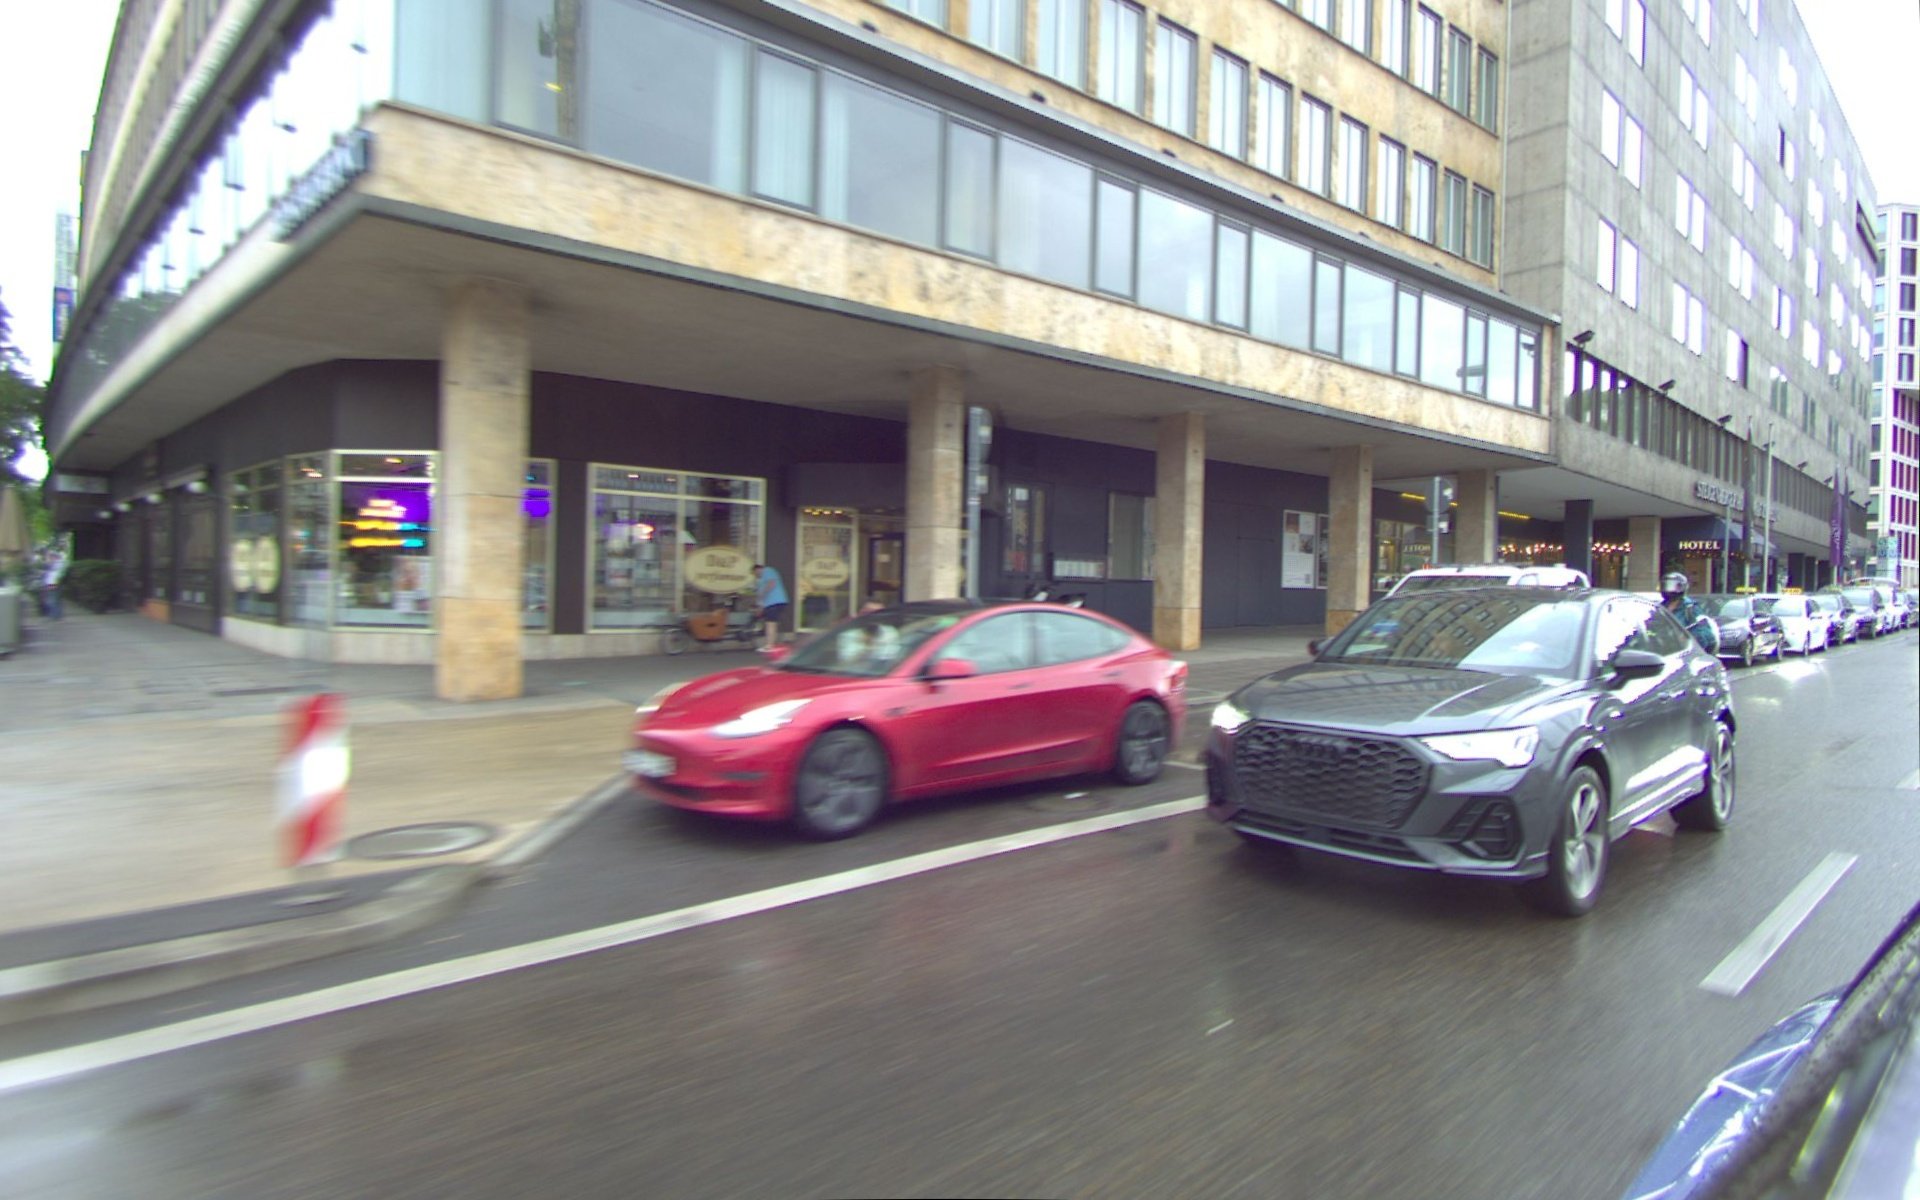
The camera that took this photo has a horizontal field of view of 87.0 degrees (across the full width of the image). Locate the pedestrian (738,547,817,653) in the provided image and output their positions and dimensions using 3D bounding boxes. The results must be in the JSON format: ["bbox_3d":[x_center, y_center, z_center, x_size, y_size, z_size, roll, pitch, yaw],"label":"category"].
[{"bbox_3d":[-3.227,-0.014,17.915,1.116,1.812,0.800,-1,0,-40],"label":"pedestrian"}]

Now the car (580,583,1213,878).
[{"bbox_3d":[-0.239,0.659,7.476,4.448,1.505,1.878,-1,1,-41],"label":"car"}]

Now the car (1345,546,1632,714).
[{"bbox_3d":[7.448,0.304,14.033,4.850,1.944,1.878,-1,1,-41],"label":"car"}]

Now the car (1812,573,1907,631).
[{"bbox_3d":[29.569,0.031,33.214,4.731,1.764,1.729,-1,1,-41],"label":"car"}]

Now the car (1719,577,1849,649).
[{"bbox_3d":[20.746,0.266,25.410,4.731,1.612,1.729,-1,1,-41],"label":"car"}]

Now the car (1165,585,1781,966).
[{"bbox_3d":[3.372,0.700,6.262,4.266,1.520,1.882,-1,1,-40],"label":"car"}]

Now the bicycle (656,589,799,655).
[{"bbox_3d":[-4.088,0.361,17.953,2.428,1.059,0.657,-1,0,-40],"label":"bicycle"}]

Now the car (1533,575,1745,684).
[{"bbox_3d":[12.014,0.411,17.765,4.924,1.658,1.878,-1,1,-41],"label":"car"}]

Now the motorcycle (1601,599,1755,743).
[{"bbox_3d":[7.504,0.676,10.541,1.931,1.323,0.848,-1,0,-40],"label":"motorcycle"}]

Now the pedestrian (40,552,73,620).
[{"bbox_3d":[-23.218,-0.360,26.008,0.607,1.721,0.574,-1,0,-41],"label":"pedestrian"}]

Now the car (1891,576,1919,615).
[{"bbox_3d":[41.384,-0.231,43.409,3.932,1.634,1.729,-1,1,-41],"label":"car"}]

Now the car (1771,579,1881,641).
[{"bbox_3d":[25.026,0.230,29.196,4.731,1.612,1.729,-1,1,-41],"label":"car"}]

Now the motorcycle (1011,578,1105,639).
[{"bbox_3d":[2.090,0.169,21.462,2.063,1.233,0.569,-1,0,-33],"label":"motorcycle"}]

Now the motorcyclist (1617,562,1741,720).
[{"bbox_3d":[7.479,0.395,10.525,0.829,1.547,0.860,-1,0,-40],"label":"motorcyclist"}]

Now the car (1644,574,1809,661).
[{"bbox_3d":[16.507,0.291,21.709,4.731,1.658,1.878,-1,1,-41],"label":"car"}]

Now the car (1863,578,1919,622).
[{"bbox_3d":[37.403,-0.026,40.236,3.932,1.634,1.729,-1,1,-41],"label":"car"}]

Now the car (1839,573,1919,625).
[{"bbox_3d":[33.372,-0.071,36.624,4.731,1.764,1.729,-1,1,-41],"label":"car"}]
